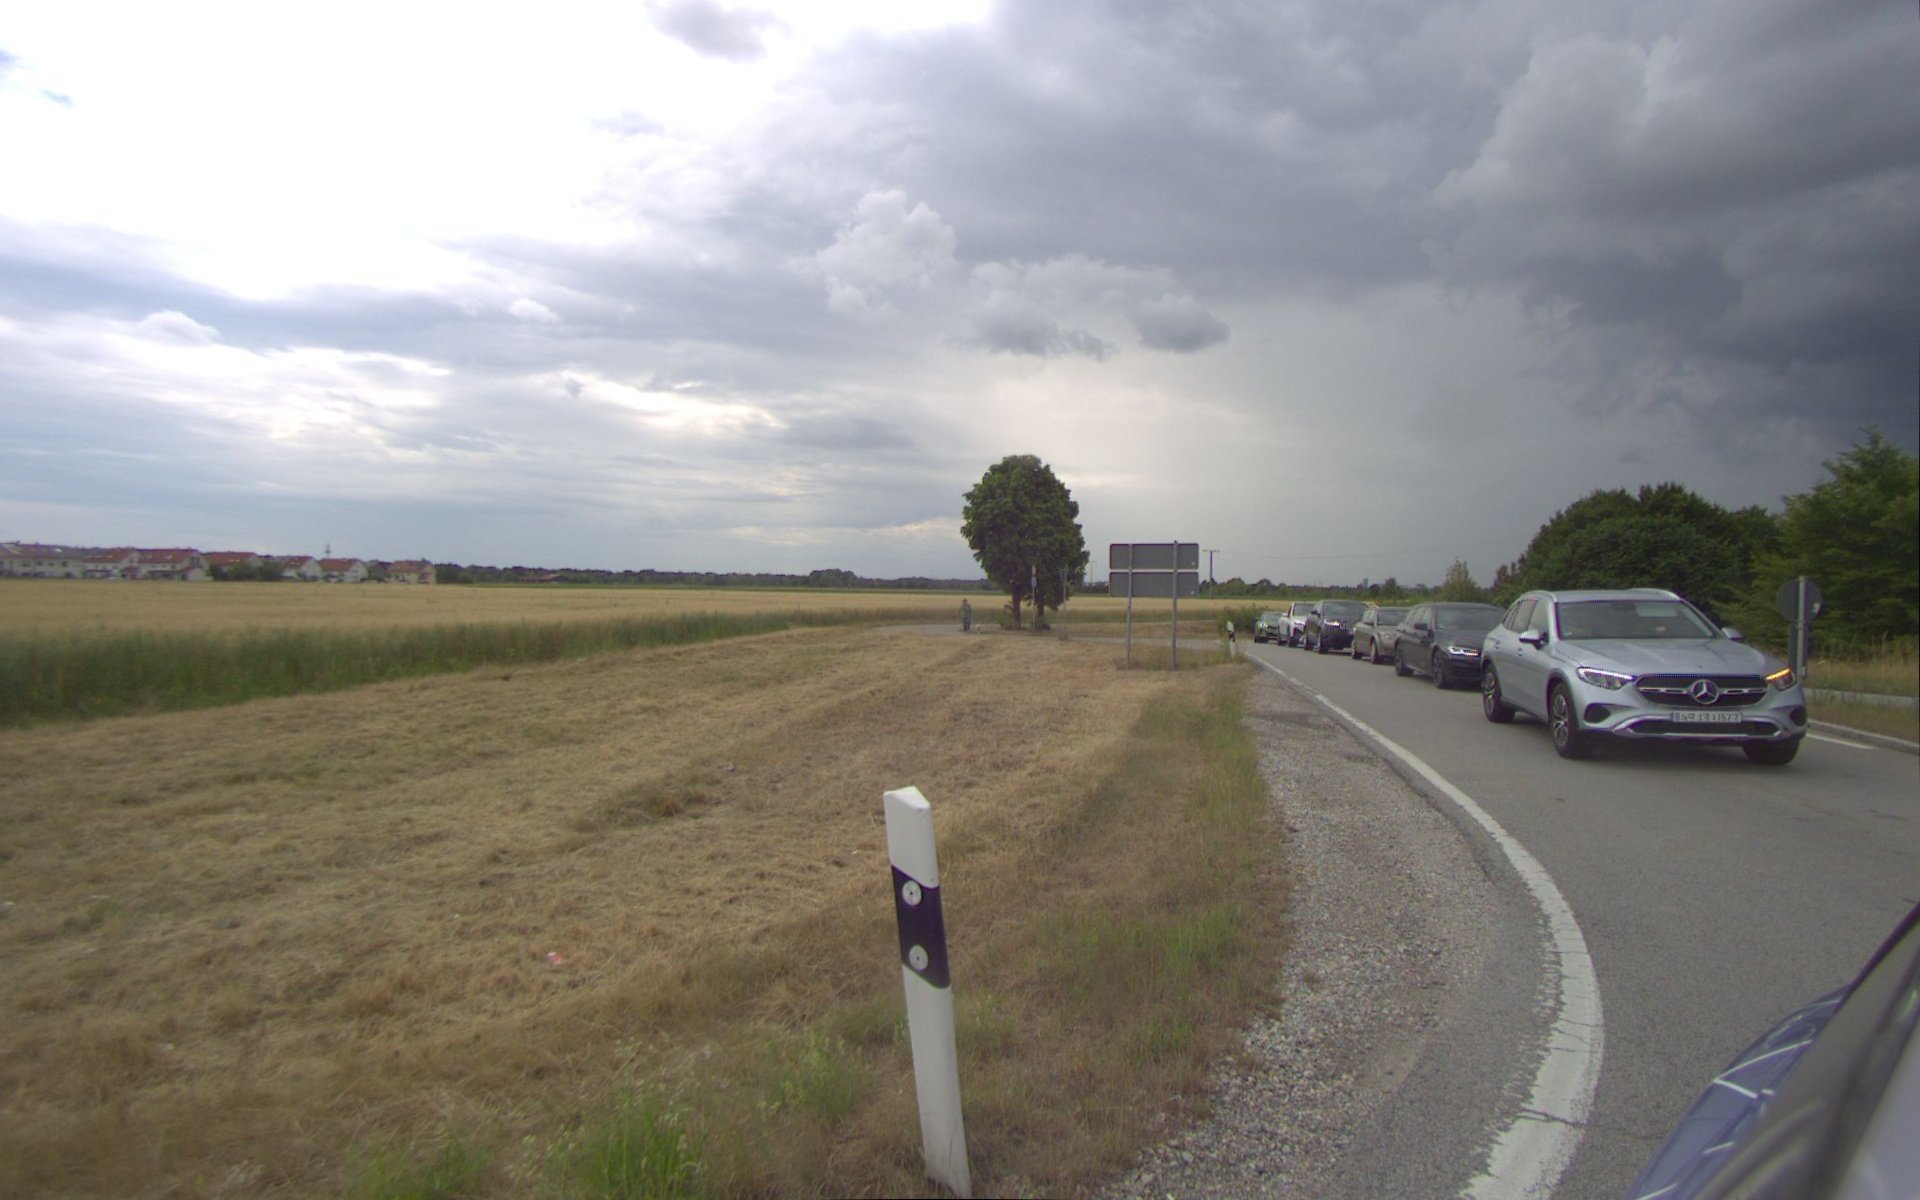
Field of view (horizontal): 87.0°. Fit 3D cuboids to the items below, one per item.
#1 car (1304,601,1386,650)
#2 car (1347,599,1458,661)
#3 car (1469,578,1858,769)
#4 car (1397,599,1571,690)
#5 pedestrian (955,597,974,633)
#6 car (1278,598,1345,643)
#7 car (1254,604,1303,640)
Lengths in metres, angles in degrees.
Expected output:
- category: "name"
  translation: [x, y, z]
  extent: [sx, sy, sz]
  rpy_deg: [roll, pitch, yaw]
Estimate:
- category: "car"
  translation: [11.885, 0.750, 31.478]
  extent: [1.695, 1.370, 4.199]
  rpy_deg: [-1, 0, 12]
- category: "car"
  translation: [11.106, 0.694, 25.674]
  extent: [1.695, 1.370, 4.199]
  rpy_deg: [1, 1, 12]
- category: "car"
  translation: [7.103, 0.611, 10.882]
  extent: [1.968, 1.606, 4.375]
  rpy_deg: [-1, 0, 14]
- category: "car"
  translation: [9.243, 0.703, 18.268]
  extent: [1.697, 1.370, 4.675]
  rpy_deg: [-1, 0, 14]
- category: "pedestrian"
  translation: [0.207, 0.679, 46.020]
  extent: [0.758, 1.631, 0.946]
  rpy_deg: [1, 0, -6]
- category: "car"
  translation: [12.972, 0.710, 37.583]
  extent: [1.695, 1.513, 4.622]
  rpy_deg: [-1, 0, 12]
- category: "car"
  translation: [14.537, 0.964, 46.388]
  extent: [1.695, 1.513, 4.199]
  rpy_deg: [-1, 0, 12]
